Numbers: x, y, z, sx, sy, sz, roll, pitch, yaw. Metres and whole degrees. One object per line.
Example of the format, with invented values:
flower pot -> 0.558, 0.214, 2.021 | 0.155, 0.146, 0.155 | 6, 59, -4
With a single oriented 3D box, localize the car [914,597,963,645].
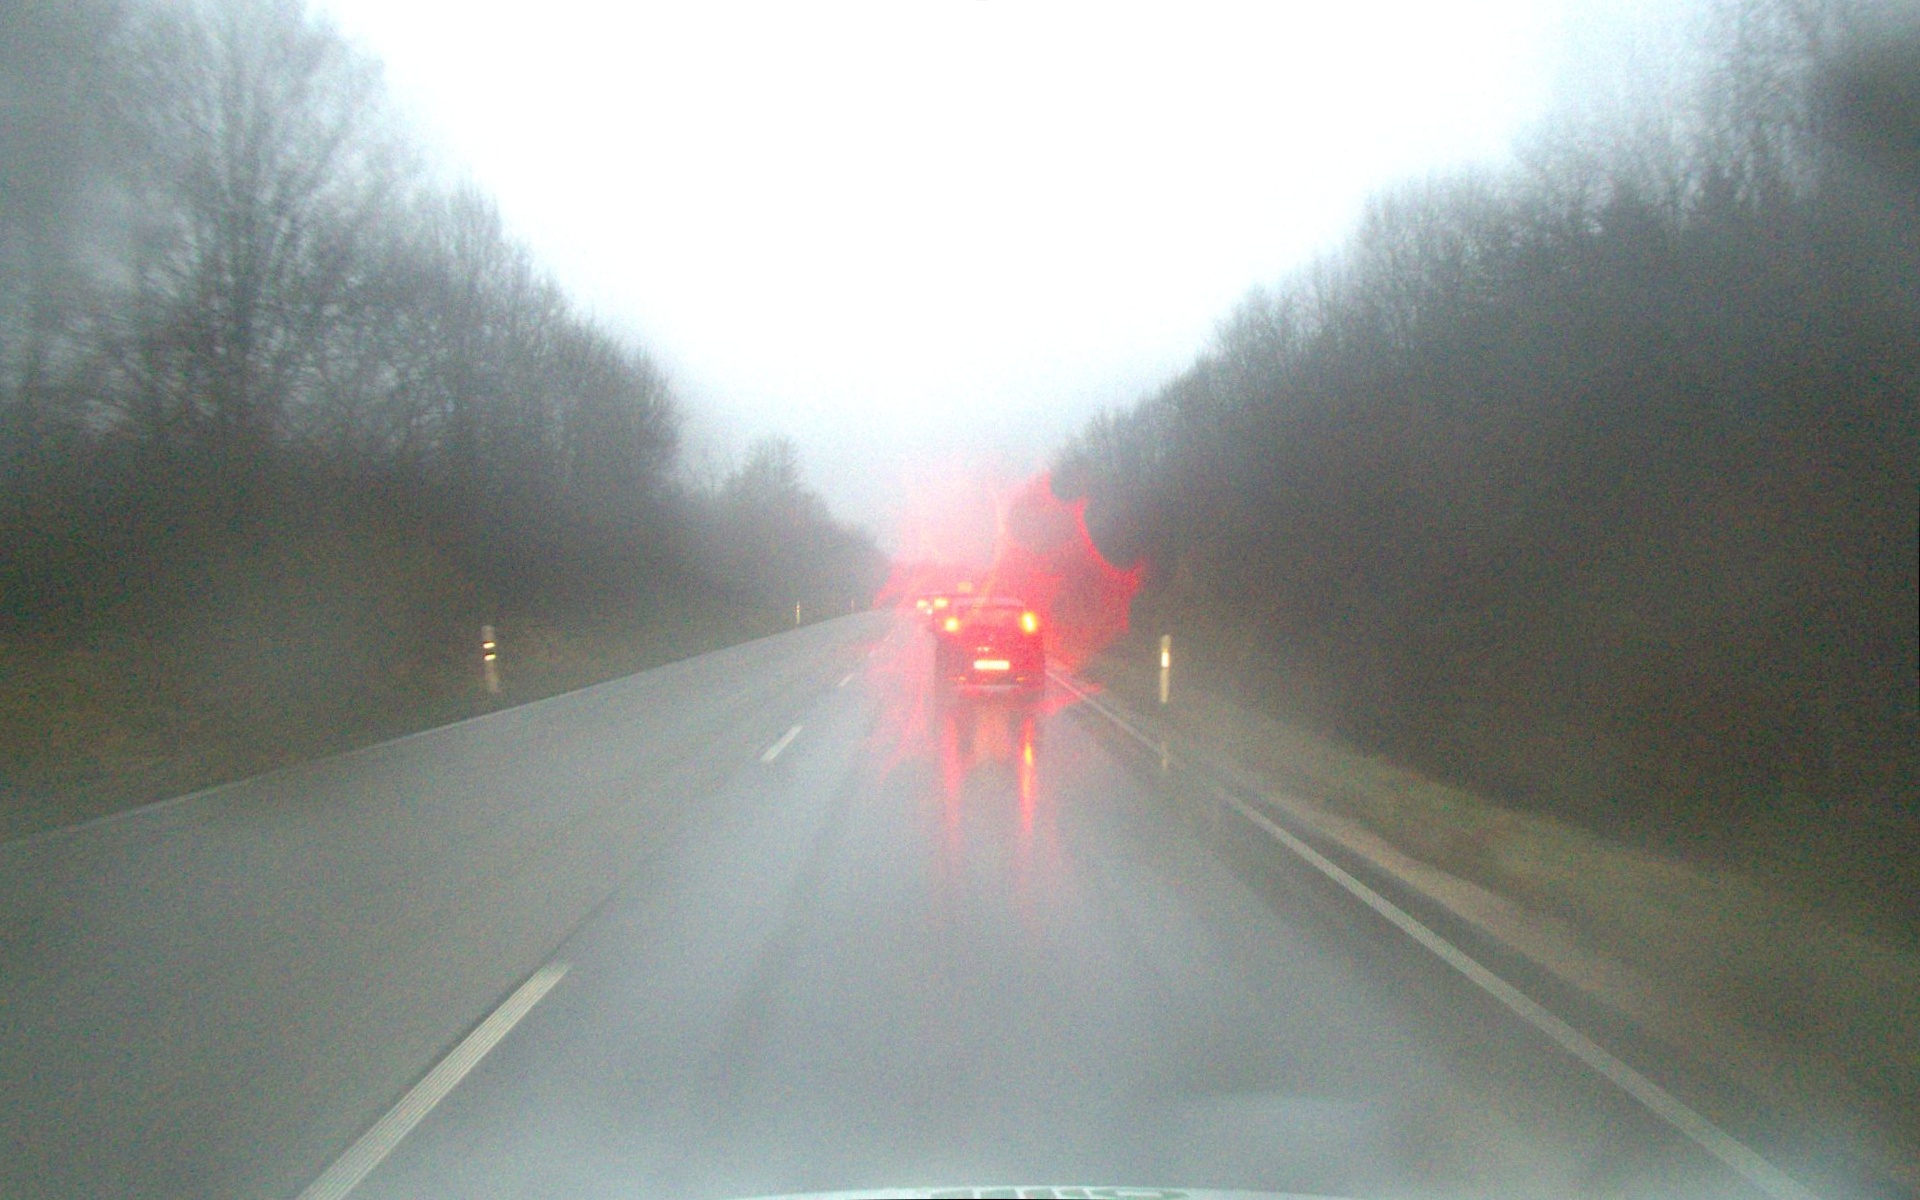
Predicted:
car -> -0.766, 0.760, 60.431 | 1.692, 1.672, 4.000 | 1, 0, 0

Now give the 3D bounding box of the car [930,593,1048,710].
car -> 0.432, 0.760, 25.947 | 1.692, 1.672, 4.000 | 1, 0, 0
